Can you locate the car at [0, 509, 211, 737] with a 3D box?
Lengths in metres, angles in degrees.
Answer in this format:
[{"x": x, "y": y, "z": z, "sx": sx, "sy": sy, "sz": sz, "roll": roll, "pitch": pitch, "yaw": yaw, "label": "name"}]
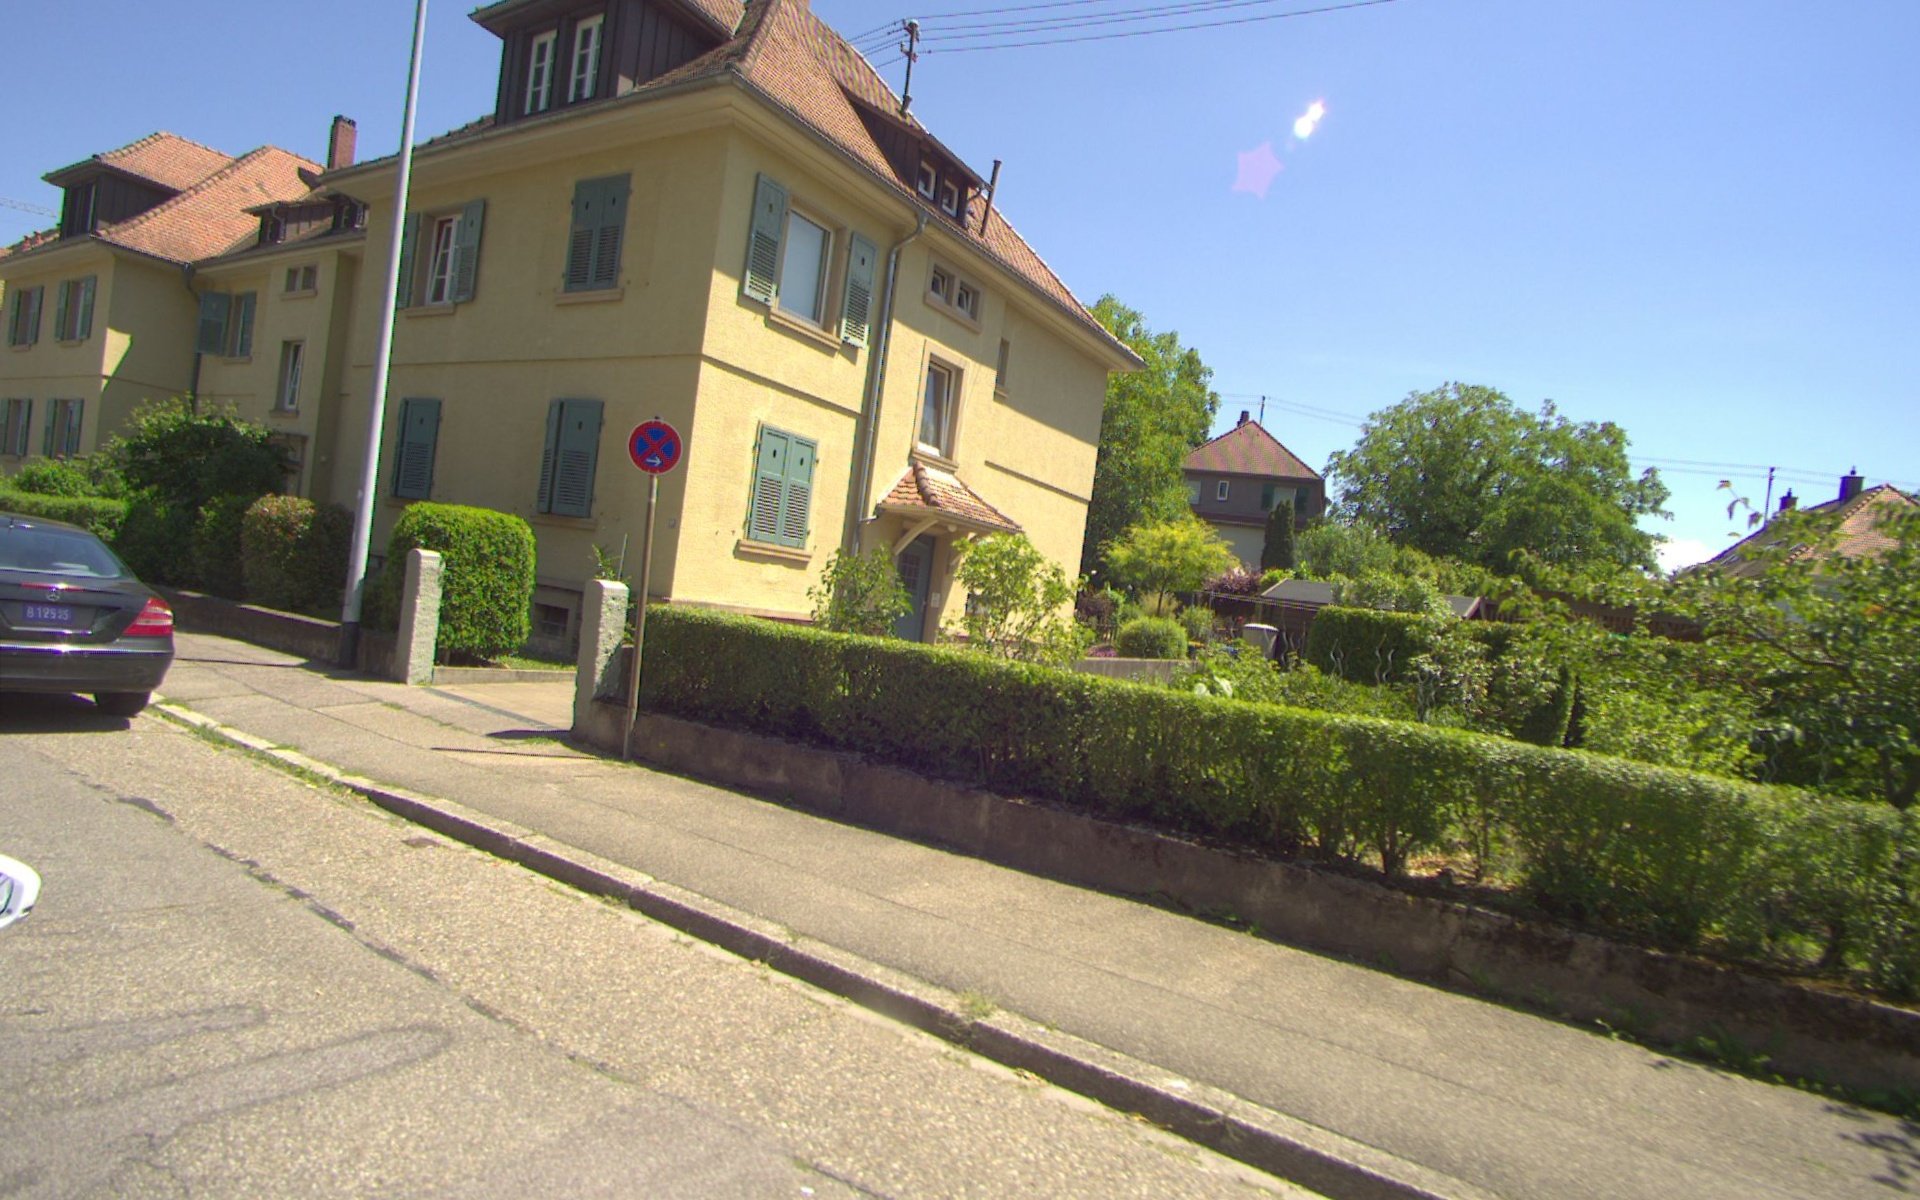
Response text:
[{"x": -7.791, "y": -0.025, "z": 7.733, "sx": 4.477, "sy": 1.435, "sz": 1.695, "roll": 6, "pitch": -1, "yaw": 33, "label": "car"}]
